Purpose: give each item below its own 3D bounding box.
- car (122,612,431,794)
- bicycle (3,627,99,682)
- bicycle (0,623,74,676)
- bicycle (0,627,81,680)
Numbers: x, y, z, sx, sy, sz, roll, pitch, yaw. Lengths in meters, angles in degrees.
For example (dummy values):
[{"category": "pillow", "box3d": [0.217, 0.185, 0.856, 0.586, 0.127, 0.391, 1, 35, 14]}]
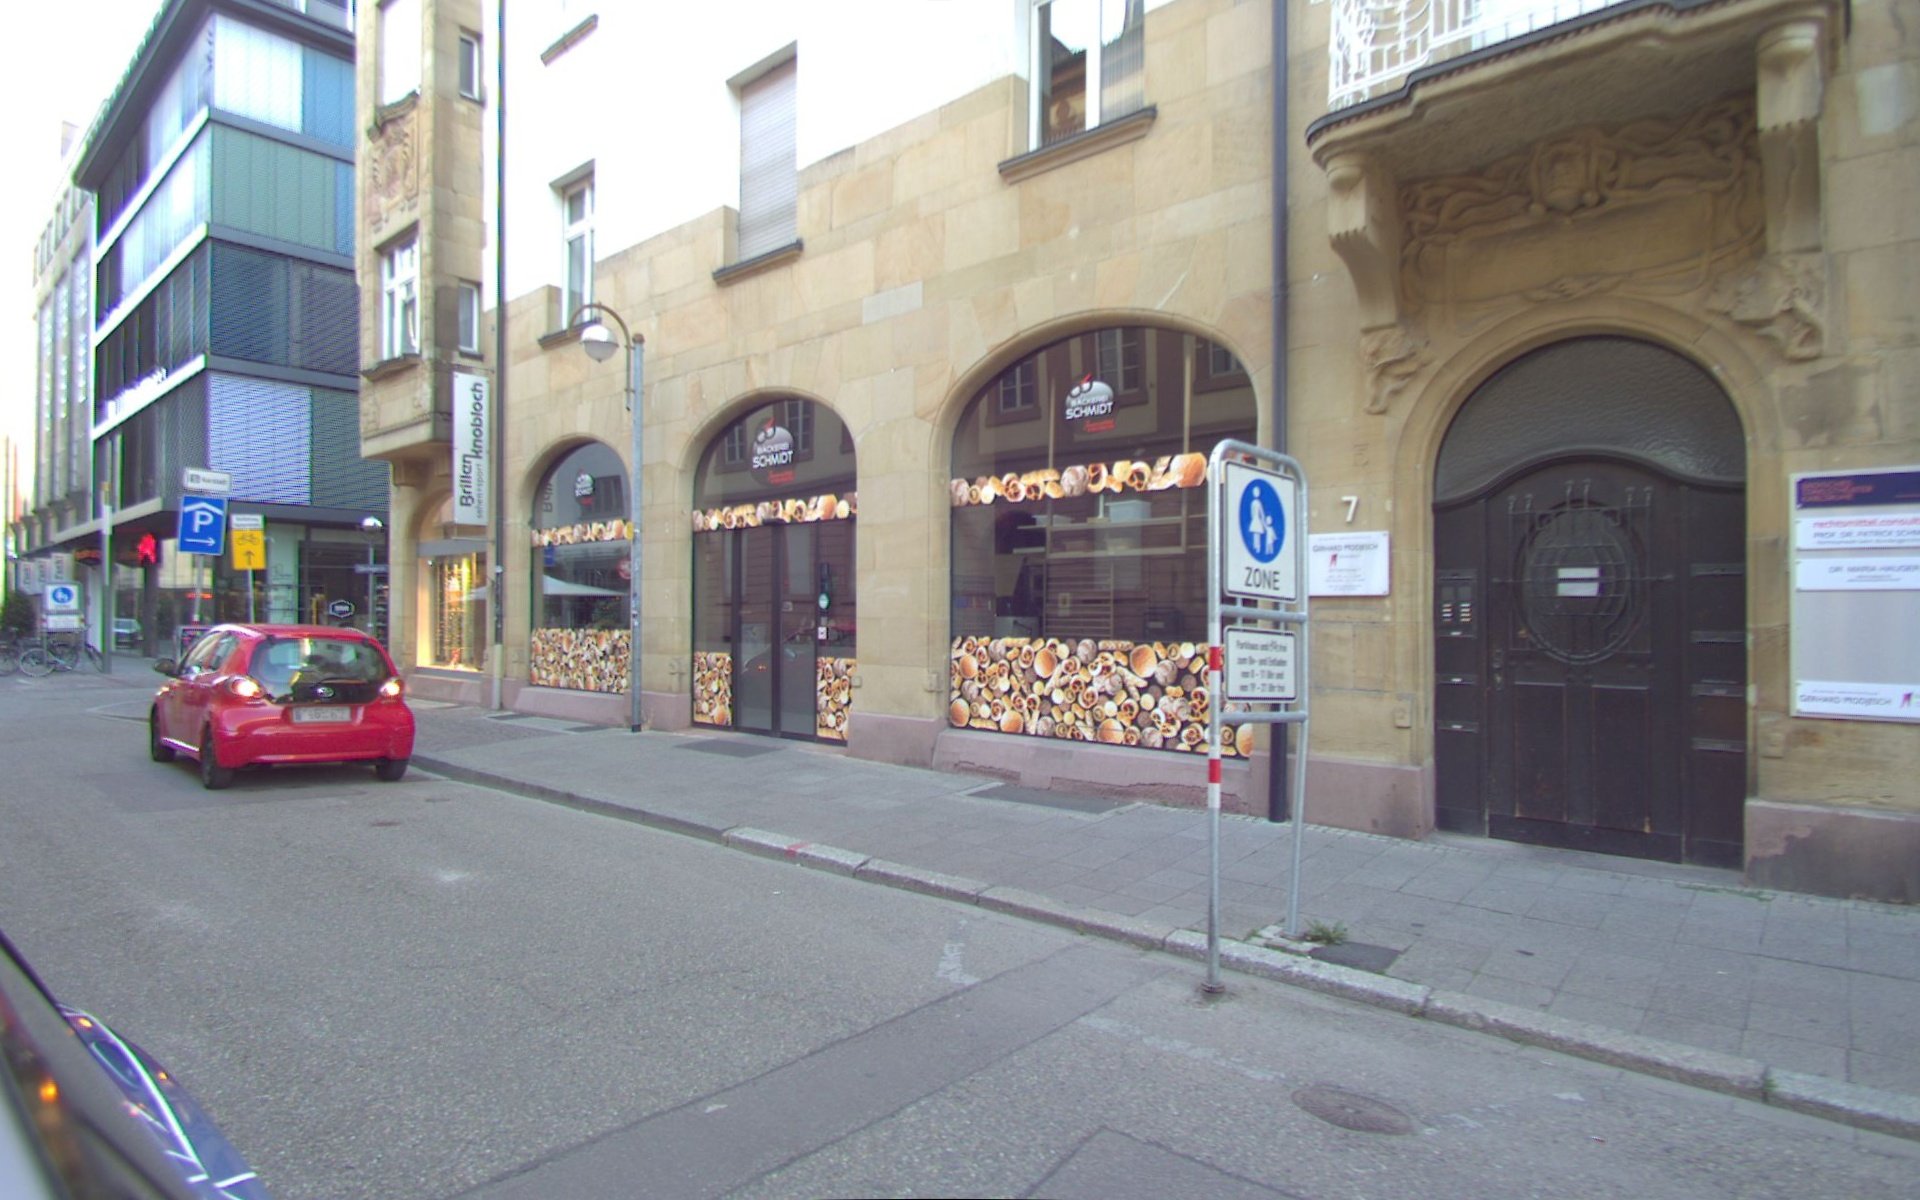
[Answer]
[{"category": "car", "box3d": [-7.034, 0.928, 10.264, 3.931, 1.481, 1.640, 0, -5, 43]}, {"category": "bicycle", "box3d": [-21.574, 1.272, 24.043, 0.509, 1.213, 1.648, -1, 0, 40]}, {"category": "bicycle", "box3d": [-24.823, 1.316, 26.841, 0.538, 1.279, 1.878, -1, 2, 41]}, {"category": "bicycle", "box3d": [-22.937, 1.320, 24.919, 0.517, 1.190, 1.878, -3, -1, 40]}]
